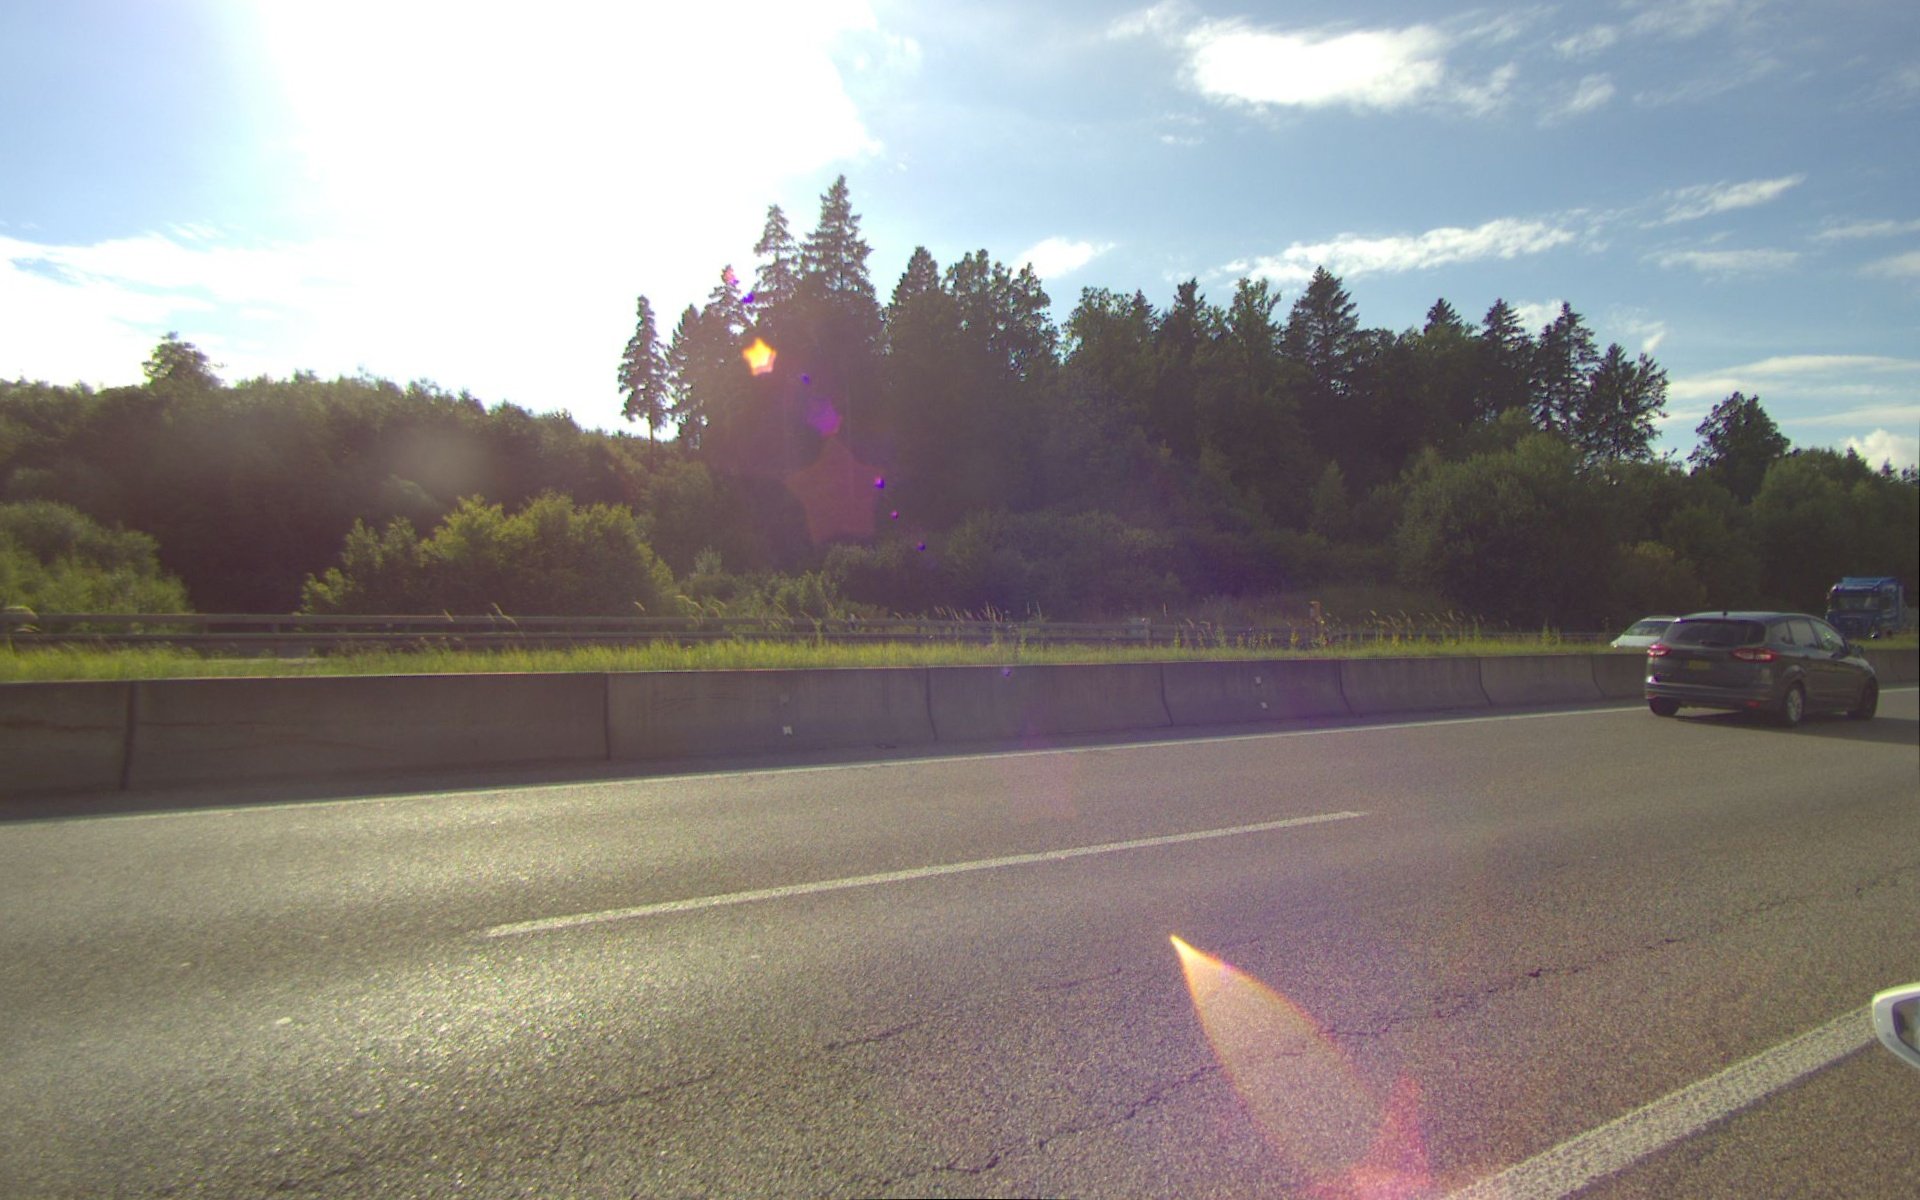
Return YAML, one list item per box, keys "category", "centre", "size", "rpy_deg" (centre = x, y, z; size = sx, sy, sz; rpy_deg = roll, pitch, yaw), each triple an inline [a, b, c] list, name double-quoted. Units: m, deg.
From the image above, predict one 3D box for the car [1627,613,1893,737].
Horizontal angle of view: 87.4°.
- category: "car"
  centre: [12.201, 1.028, 15.274]
  size: [4.157, 1.607, 1.798]
  rpy_deg: [0, 1, -30]

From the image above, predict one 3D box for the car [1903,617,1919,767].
- category: "car"
  centre: [11.892, 1.013, 10.814]
  size: [3.479, 1.565, 1.610]
  rpy_deg: [1, 0, -30]

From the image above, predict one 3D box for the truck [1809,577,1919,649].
- category: "truck"
  centre: [51.583, 0.750, 56.971]
  size: [7.039, 3.889, 3.100]
  rpy_deg: [1, 0, -30]

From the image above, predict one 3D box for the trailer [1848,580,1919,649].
- category: "trailer"
  centre: [58.484, 0.906, 61.067]
  size: [12.066, 3.889, 3.109]
  rpy_deg: [1, 0, -30]
